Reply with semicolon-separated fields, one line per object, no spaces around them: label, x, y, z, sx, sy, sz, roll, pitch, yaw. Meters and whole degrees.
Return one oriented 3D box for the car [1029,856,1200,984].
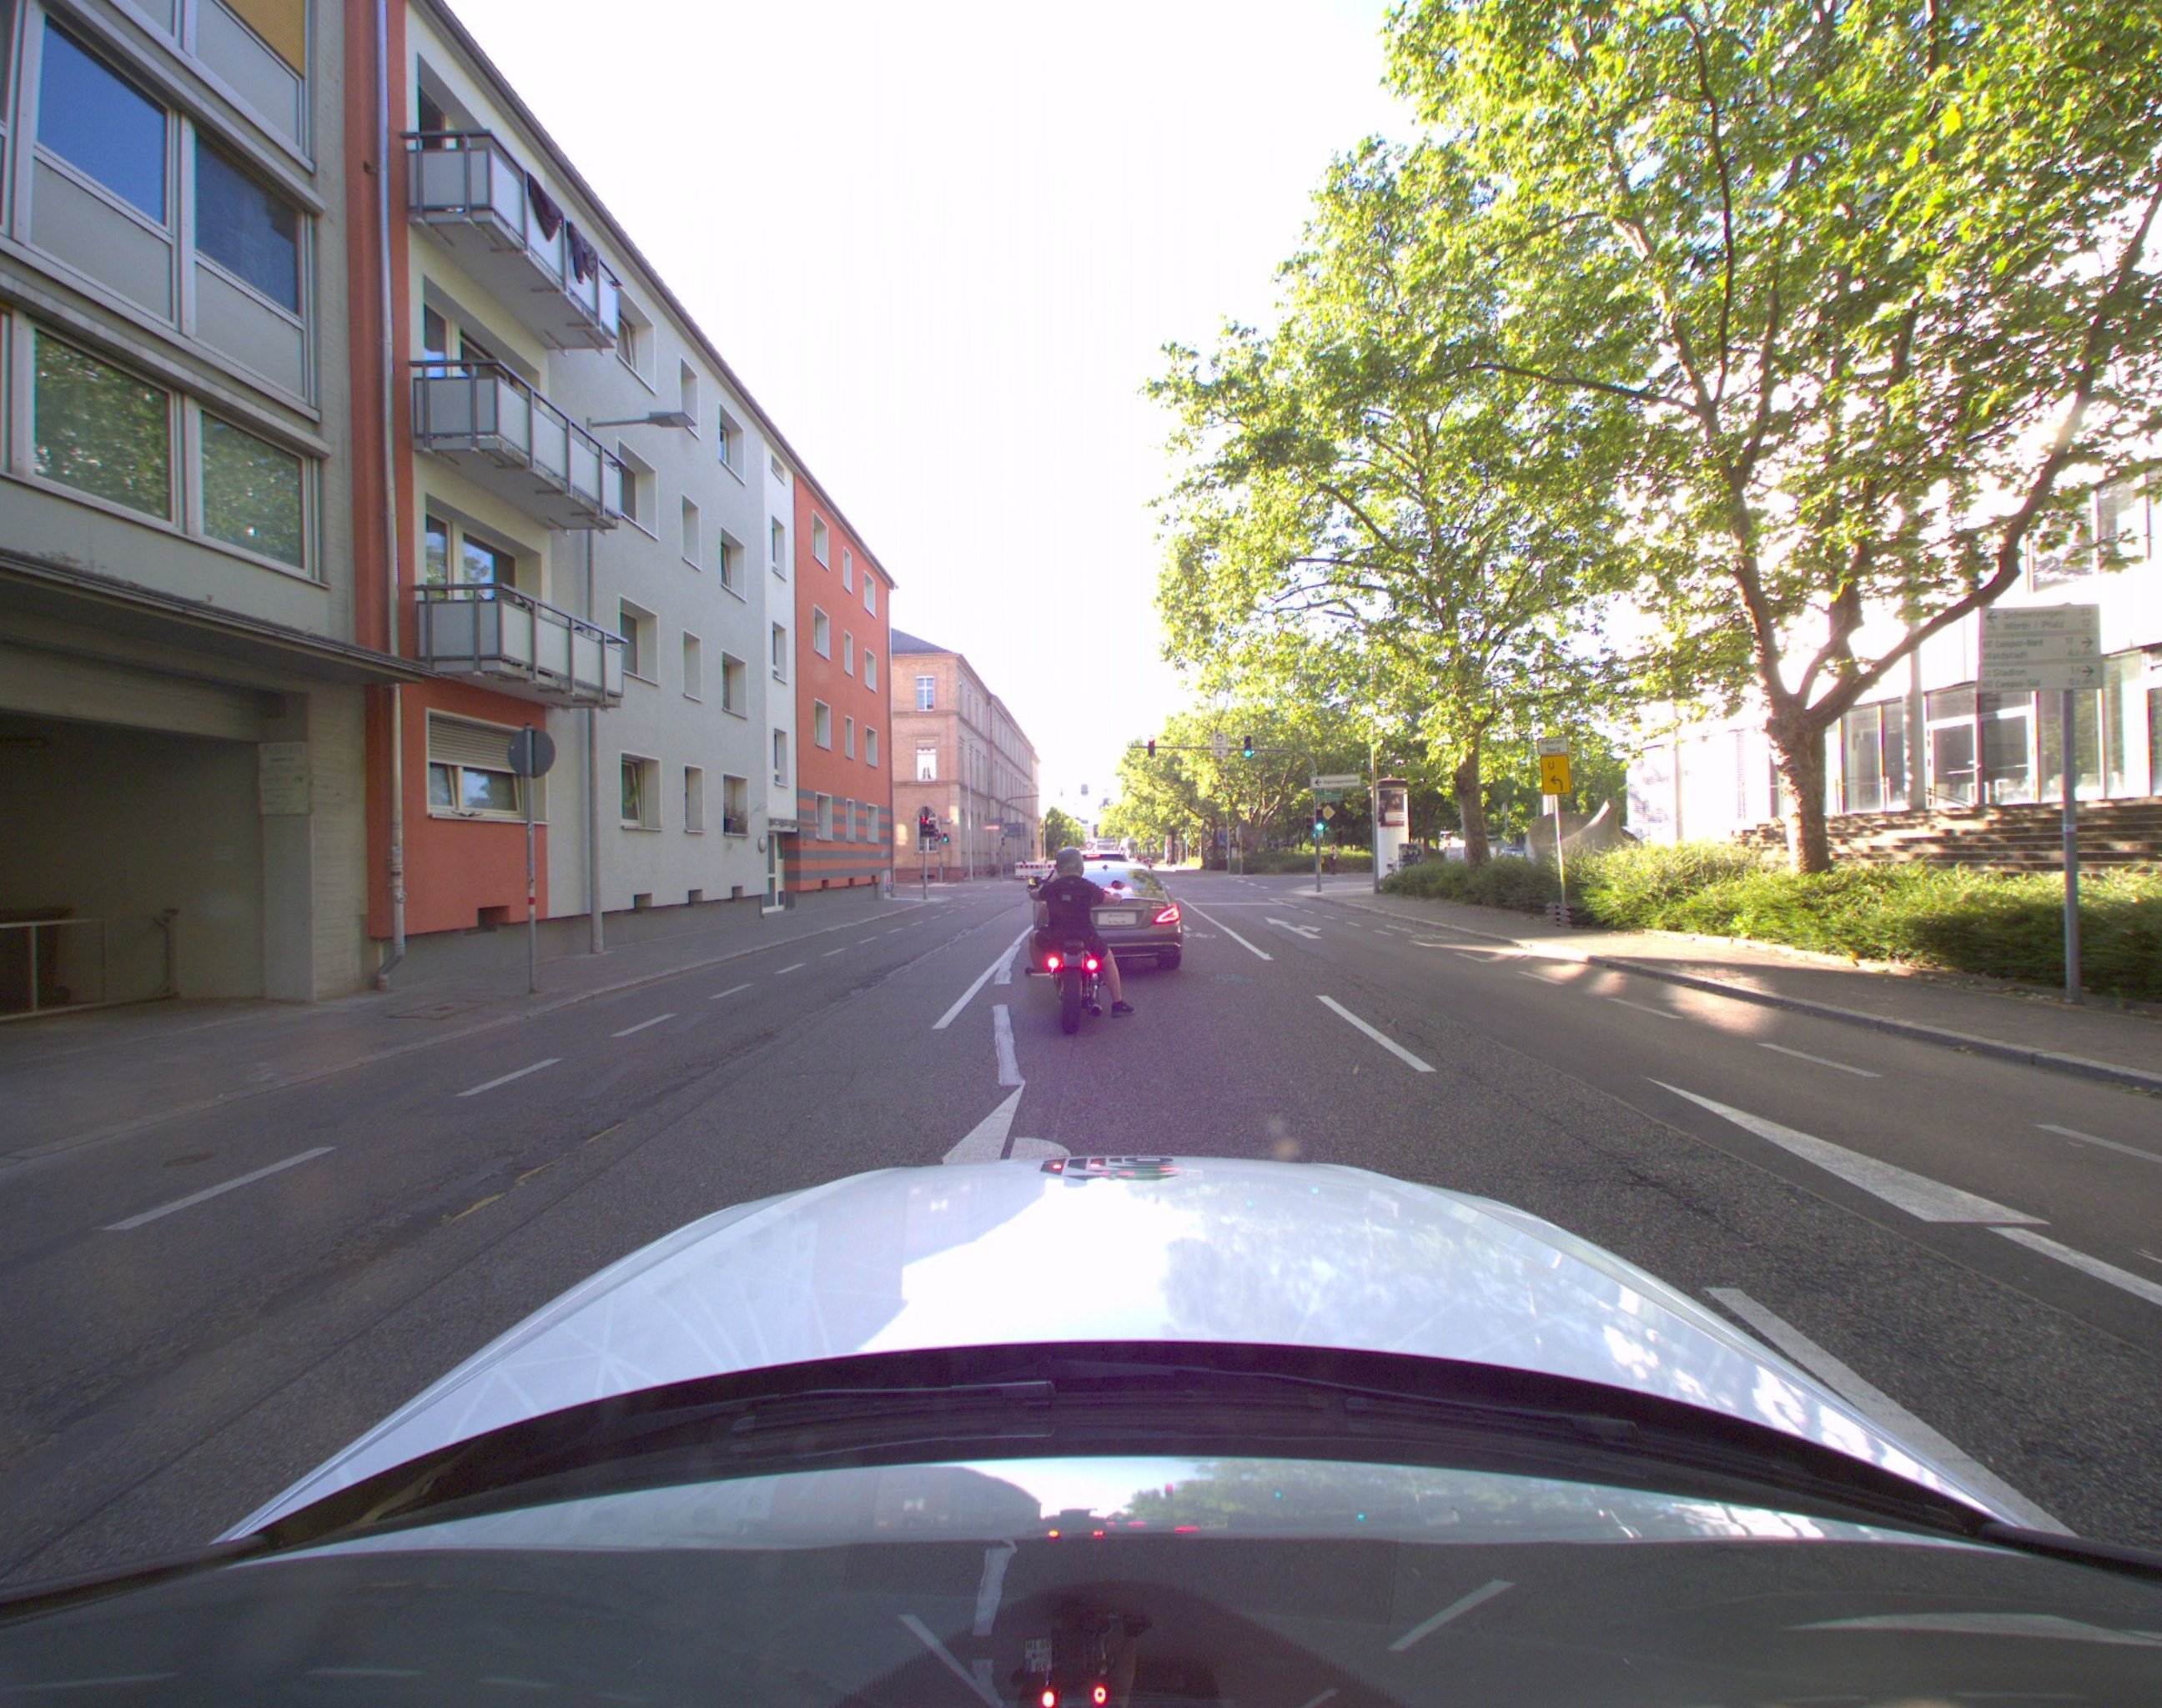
car;0.260;0.771;11.746;1.867;1.444;4.421;-1;0;-6

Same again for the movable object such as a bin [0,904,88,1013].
movable object such as a bin;-11.292;1.089;8.648;0.639;1.065;0.675;-1;0;1

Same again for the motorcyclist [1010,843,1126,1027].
motorcyclist;-0.096;0.700;7.691;0.977;1.578;1.249;-1;0;1

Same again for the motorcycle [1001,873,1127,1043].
motorcycle;-0.095;0.855;7.691;0.977;1.275;2.408;-1;0;2

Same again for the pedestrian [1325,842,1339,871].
pedestrian;15.540;0.164;50.356;0.671;1.772;0.621;-1;-1;31

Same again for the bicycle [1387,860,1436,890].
bicycle;11.076;0.709;27.324;1.475;0.980;0.300;0;-1;7

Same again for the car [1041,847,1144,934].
car;0.286;0.723;17.673;1.986;1.665;4.001;0;-1;2
